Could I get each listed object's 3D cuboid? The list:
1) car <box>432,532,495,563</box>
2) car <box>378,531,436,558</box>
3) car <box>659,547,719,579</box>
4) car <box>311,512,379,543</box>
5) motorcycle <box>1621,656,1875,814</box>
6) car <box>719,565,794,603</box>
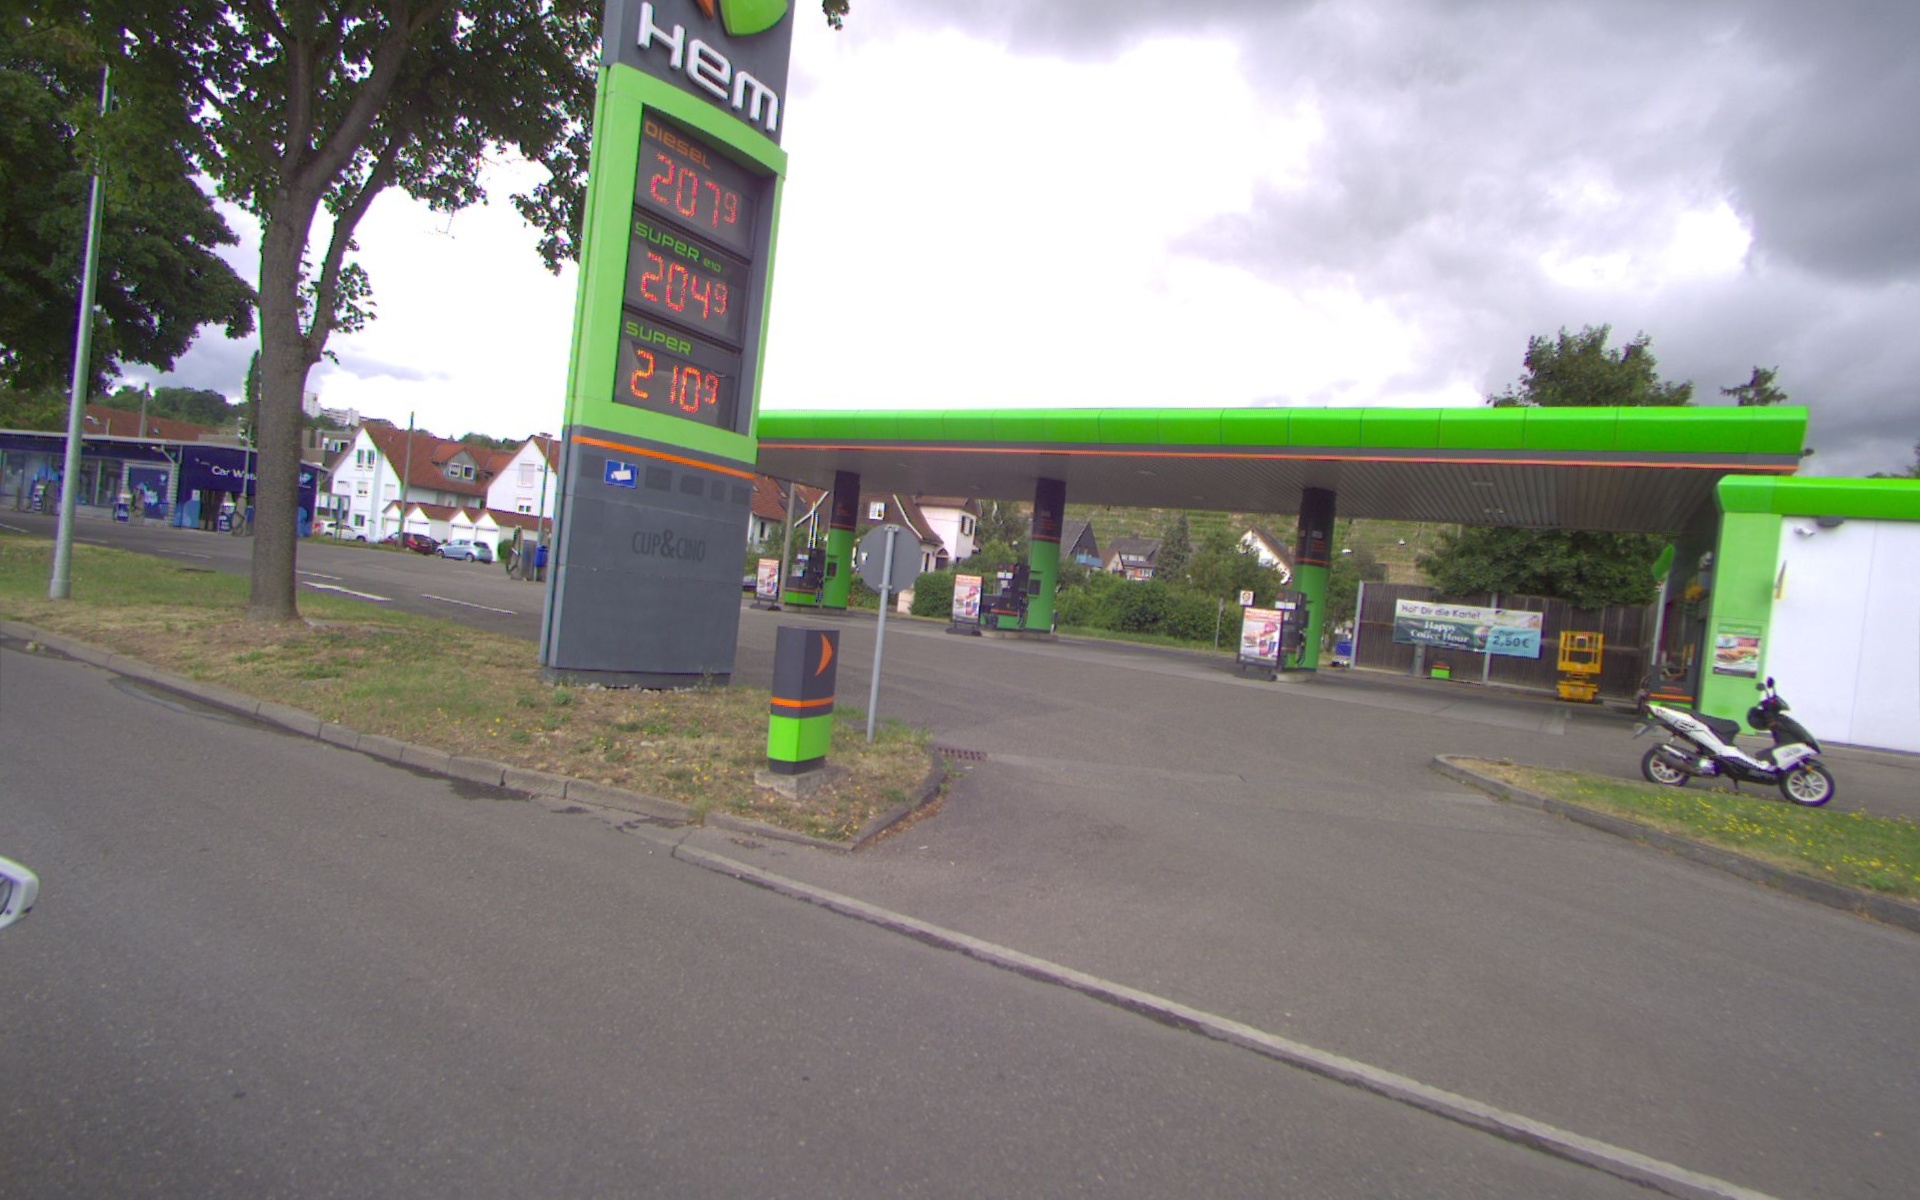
[{"bbox_3d":[-33.588,-3.543,68.081,3.667,1.618,1.539,7,-1,19],"label":"car"},{"bbox_3d":[-38.423,-3.867,69.887,3.354,1.411,1.587,7,-1,19],"label":"car"},{"bbox_3d":[-18.758,-2.554,69.577,3.934,1.705,1.691,7,1,32],"label":"car"},{"bbox_3d":[-49.723,-5.854,81.396,1.747,1.704,4.226,7,-2,29],"label":"car"},{"bbox_3d":[8.476,1.410,10.964,1.957,1.348,0.856,7,1,32],"label":"motorcycle"},{"bbox_3d":[-12.258,-0.954,60.727,3.925,1.709,1.762,7,-1,19],"label":"car"}]
